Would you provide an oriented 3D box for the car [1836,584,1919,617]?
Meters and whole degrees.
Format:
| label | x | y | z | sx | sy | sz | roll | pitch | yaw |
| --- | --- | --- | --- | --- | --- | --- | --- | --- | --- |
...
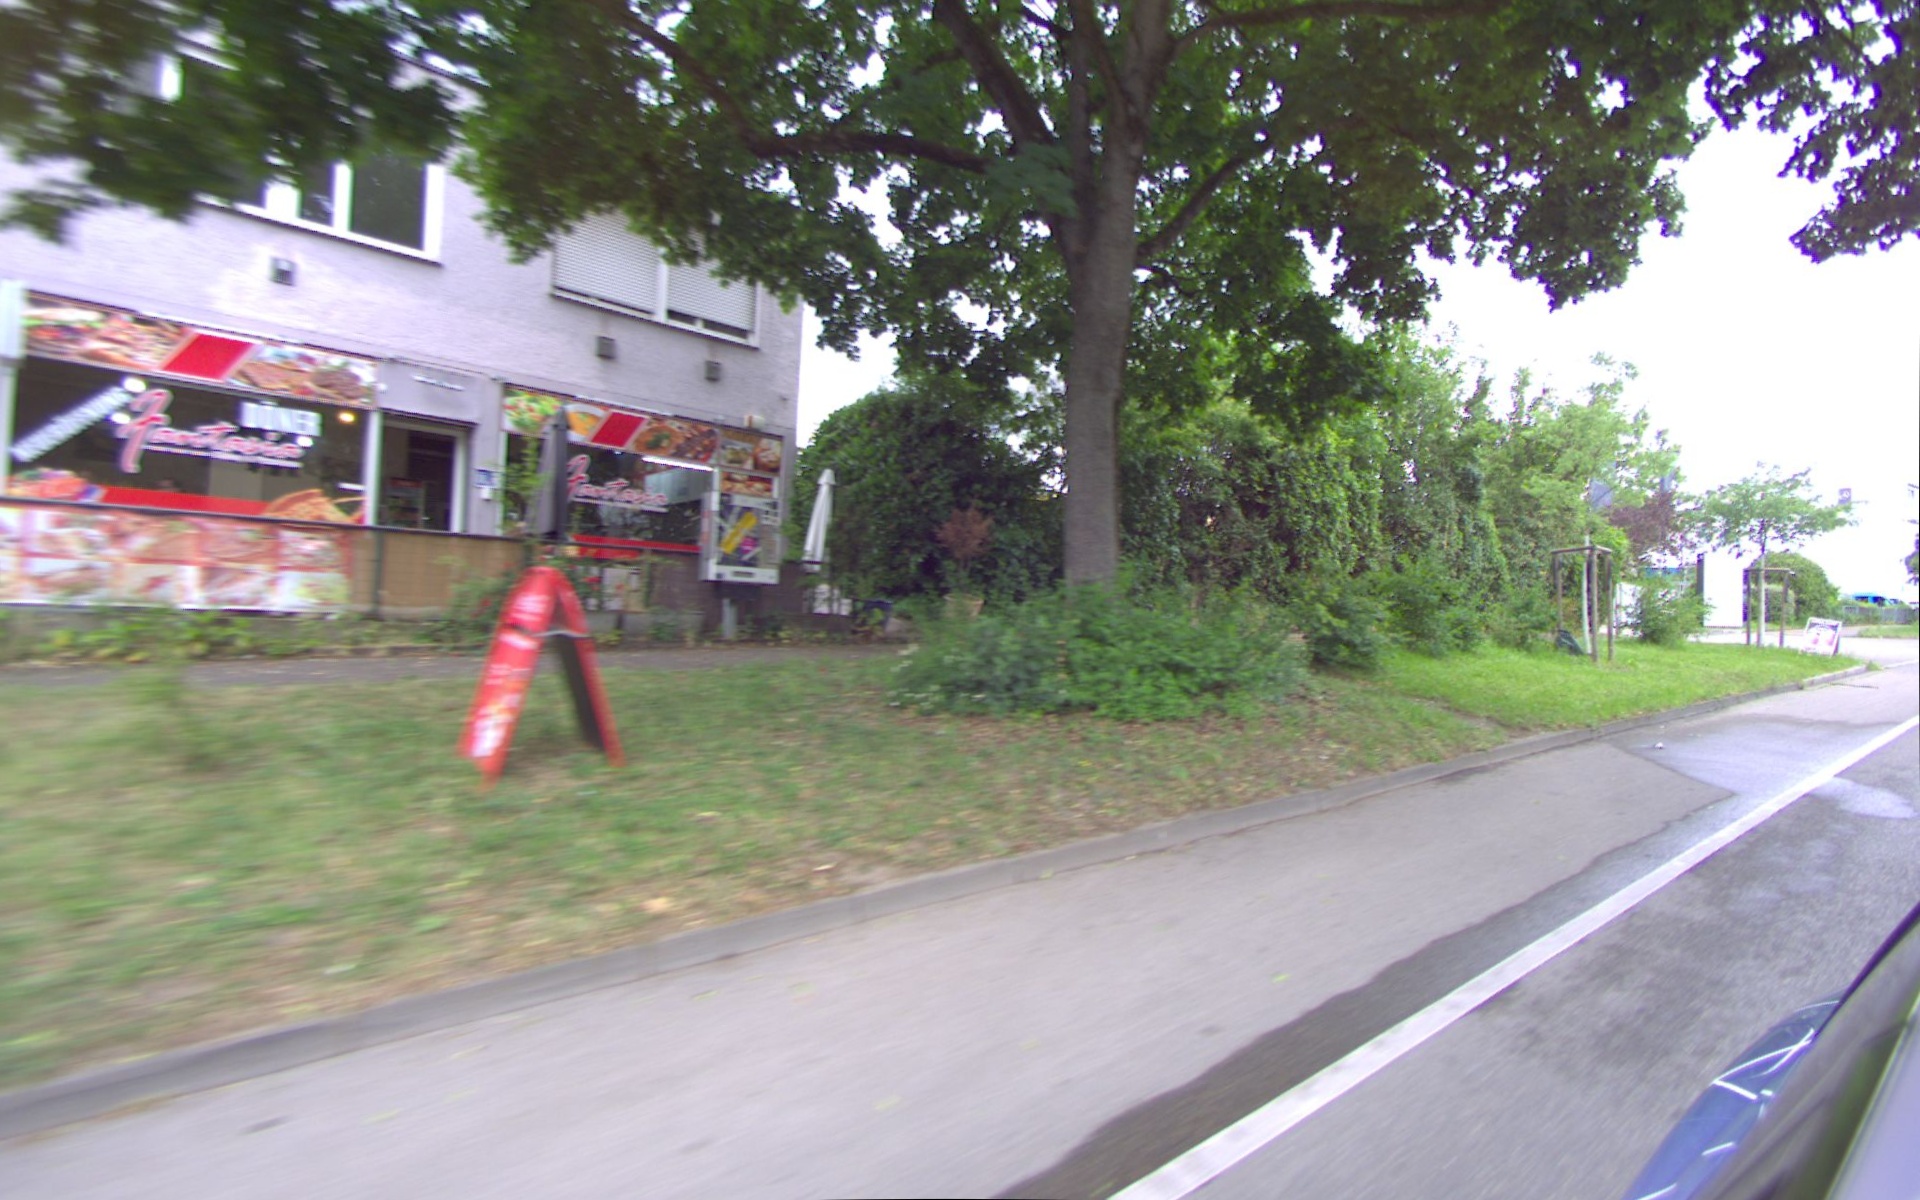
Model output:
| label | x | y | z | sx | sy | sz | roll | pitch | yaw |
| --- | --- | --- | --- | --- | --- | --- | --- | --- | --- |
| car | 63.796 | 0.073 | 69.499 | 5.220 | 2.216 | 2.048 | 0 | -1 | 32 |

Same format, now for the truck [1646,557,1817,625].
| label | x | y | z | sx | sy | sz | roll | pitch | yaw |
| --- | --- | --- | --- | --- | --- | --- | --- | --- | --- |
| truck | 41.785 | -0.516 | 55.118 | 7.133 | 3.521 | 2.589 | 1 | 0 | 33 |

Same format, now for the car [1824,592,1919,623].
| label | x | y | z | sx | sy | sz | roll | pitch | yaw |
| --- | --- | --- | --- | --- | --- | --- | --- | --- | --- |
| car | 60.987 | 0.476 | 66.828 | 5.788 | 1.981 | 2.045 | 0 | -1 | 35 |

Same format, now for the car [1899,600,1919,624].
| label | x | y | z | sx | sy | sz | roll | pitch | yaw |
| --- | --- | --- | --- | --- | --- | --- | --- | --- | --- |
| car | 83.094 | 1.022 | 85.839 | 4.513 | 2.060 | 2.060 | 0 | -1 | 17 |

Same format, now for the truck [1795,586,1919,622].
| label | x | y | z | sx | sy | sz | roll | pitch | yaw |
| --- | --- | --- | --- | --- | --- | --- | --- | --- | --- |
| truck | 57.960 | 0.237 | 65.046 | 6.197 | 2.241 | 2.224 | 0 | -1 | 29 |
